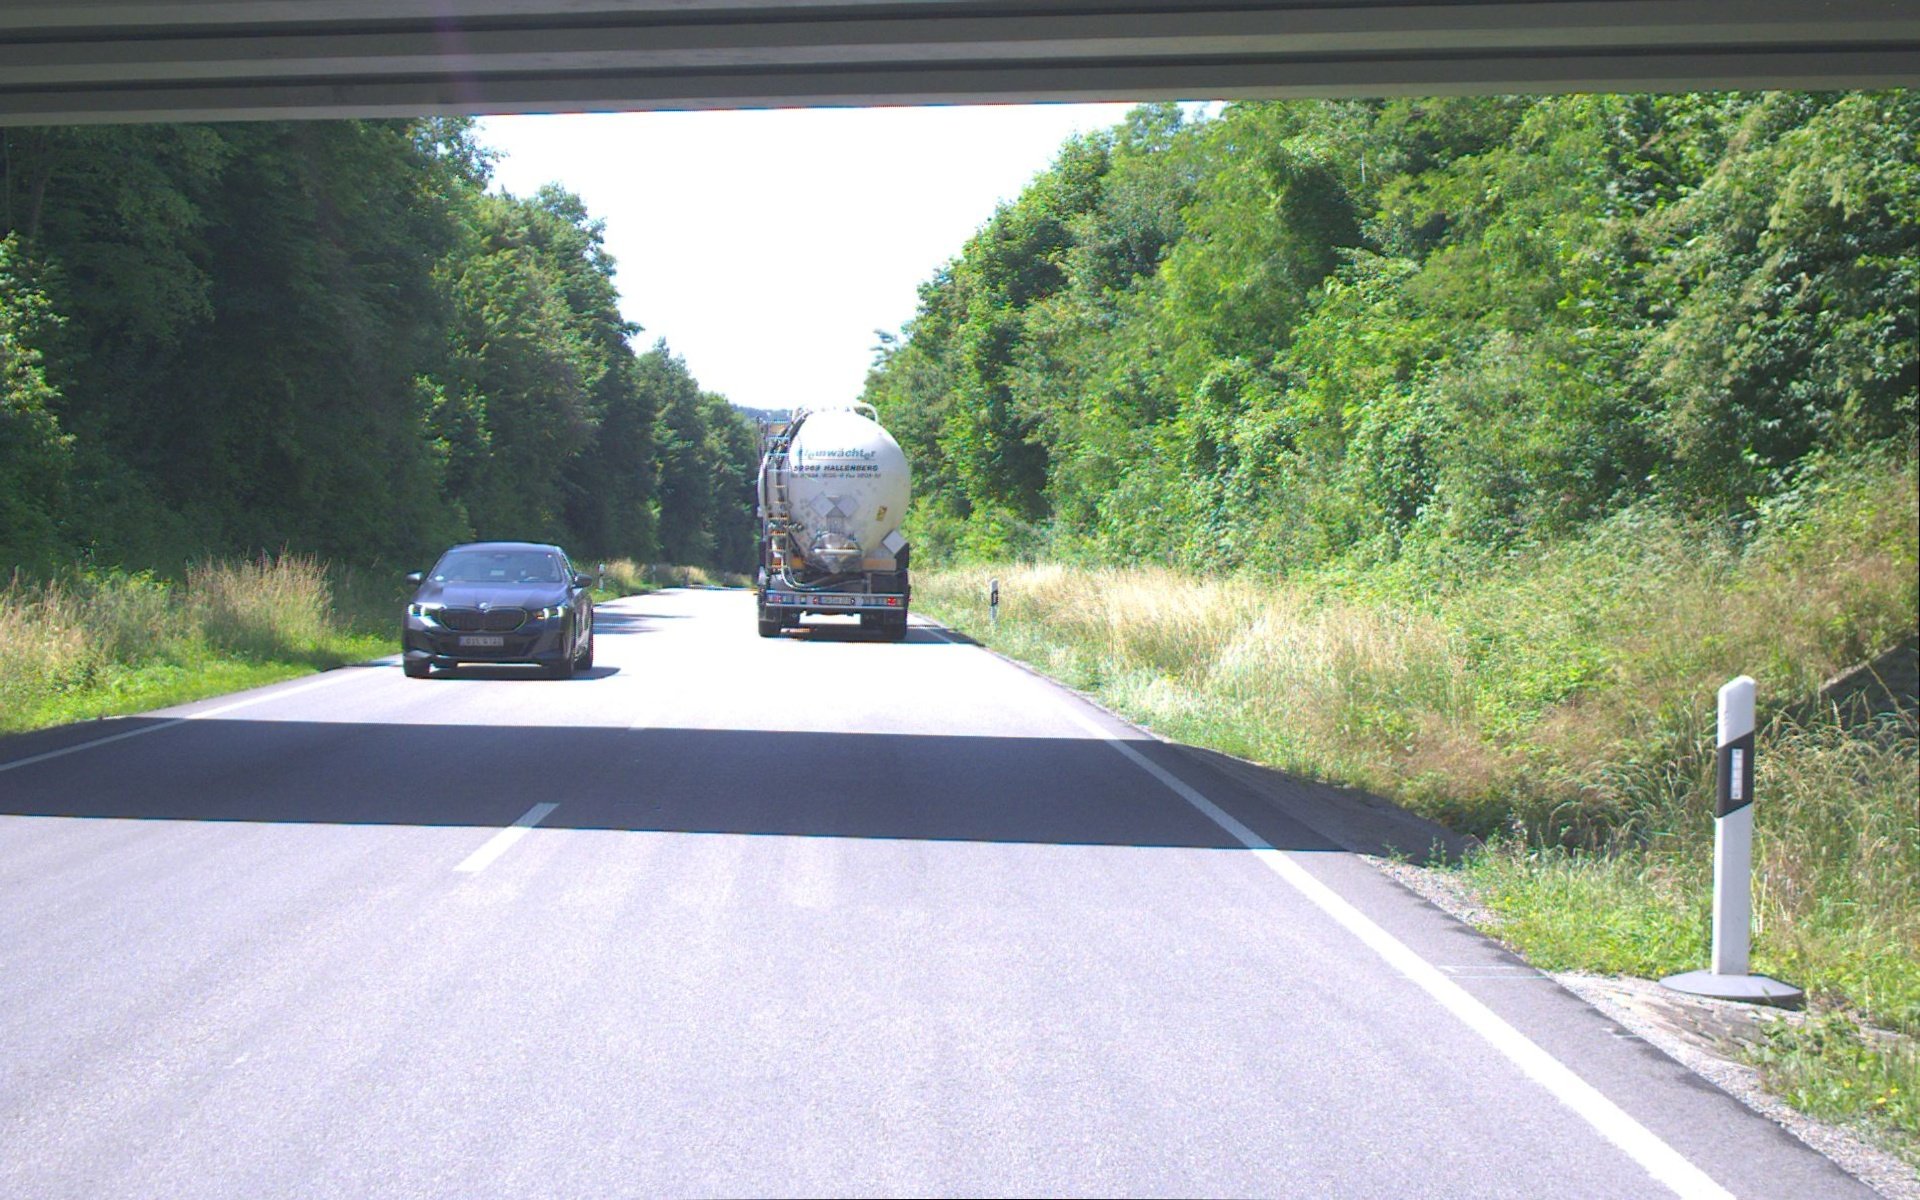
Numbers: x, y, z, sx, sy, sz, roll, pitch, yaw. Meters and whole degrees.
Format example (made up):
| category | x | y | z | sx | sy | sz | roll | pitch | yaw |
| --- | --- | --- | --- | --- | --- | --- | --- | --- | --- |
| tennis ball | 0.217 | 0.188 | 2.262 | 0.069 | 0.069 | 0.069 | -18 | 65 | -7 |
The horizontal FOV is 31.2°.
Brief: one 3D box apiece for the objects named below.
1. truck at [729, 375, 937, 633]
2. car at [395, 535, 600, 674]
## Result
| category | x | y | z | sx | sy | sz | roll | pitch | yaw |
| --- | --- | --- | --- | --- | --- | --- | --- | --- | --- |
| truck | -2.577 | -1.573 | 63.235 | 3.049 | 3.984 | 15.638 | 3 | 0 | -4 |
| car | -5.273 | 0.012 | 39.696 | 1.859 | 1.500 | 4.587 | 1 | 1 | -2 |
